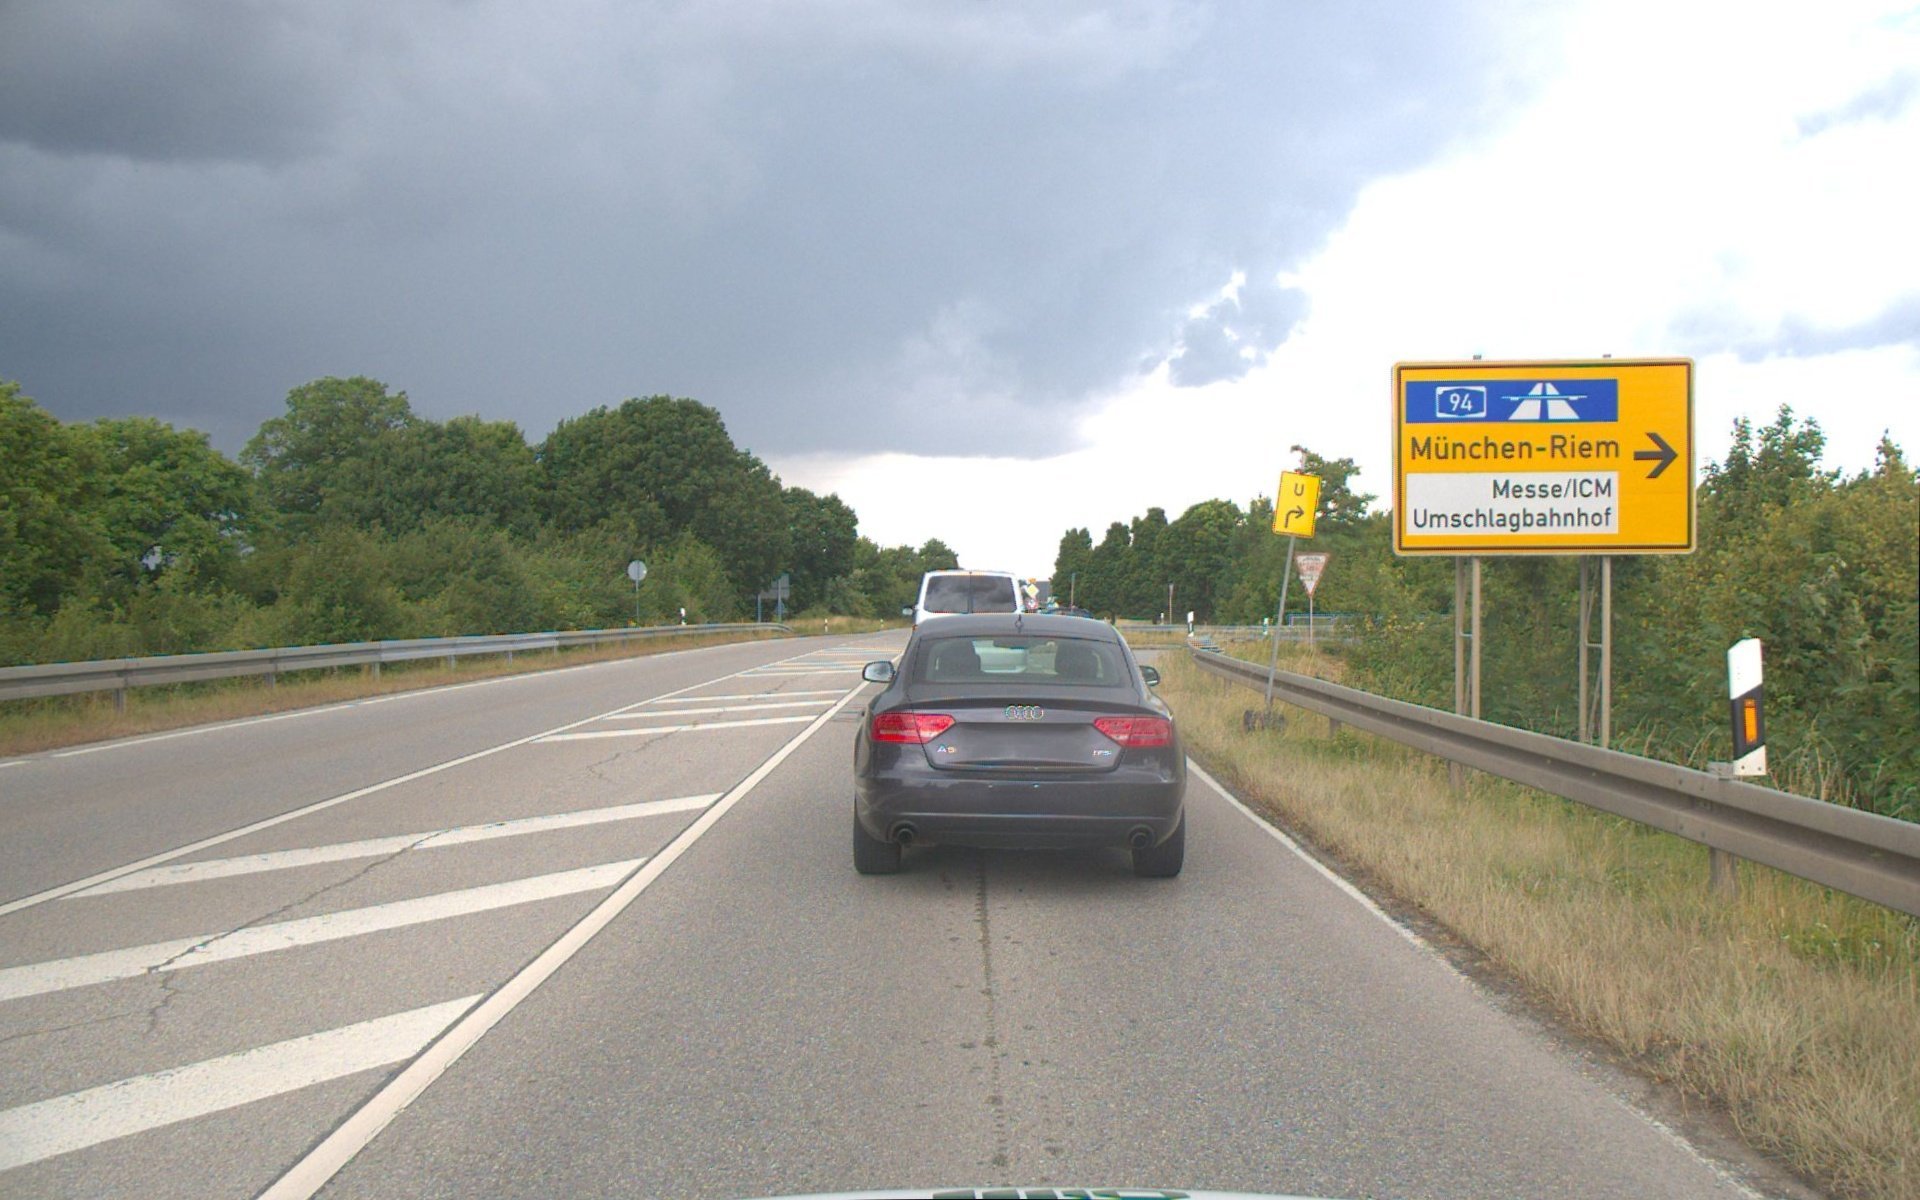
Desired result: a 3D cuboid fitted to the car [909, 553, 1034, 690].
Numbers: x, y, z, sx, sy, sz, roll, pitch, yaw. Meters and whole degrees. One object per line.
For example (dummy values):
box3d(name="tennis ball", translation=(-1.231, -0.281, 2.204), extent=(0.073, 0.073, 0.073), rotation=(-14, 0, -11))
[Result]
box3d(name="car", translation=(0.158, 0.311, 27.005), extent=(1.871, 2.049, 3.999), rotation=(1, 0, -1))

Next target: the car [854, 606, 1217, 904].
box3d(name="car", translation=(0.344, 0.754, 9.626), extent=(1.743, 1.423, 3.336), rotation=(0, 0, -1))

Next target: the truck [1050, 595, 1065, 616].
box3d(name="truck", translation=(14.108, 0.760, 239.538), extent=(1.952, 2.969, 5.795), rotation=(1, 0, 3))

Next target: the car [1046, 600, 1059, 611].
box3d(name="car", translation=(14.444, 0.887, 257.910), extent=(1.952, 1.722, 4.001), rotation=(1, 0, 2))

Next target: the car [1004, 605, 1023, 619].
box3d(name="car", translation=(6.508, 1.489, 202.347), extent=(2.161, 1.610, 4.378), rotation=(1, 0, -1))

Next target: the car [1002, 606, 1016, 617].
box3d(name="car", translation=(6.654, 1.526, 226.856), extent=(1.699, 1.479, 3.999), rotation=(1, 0, -1))
